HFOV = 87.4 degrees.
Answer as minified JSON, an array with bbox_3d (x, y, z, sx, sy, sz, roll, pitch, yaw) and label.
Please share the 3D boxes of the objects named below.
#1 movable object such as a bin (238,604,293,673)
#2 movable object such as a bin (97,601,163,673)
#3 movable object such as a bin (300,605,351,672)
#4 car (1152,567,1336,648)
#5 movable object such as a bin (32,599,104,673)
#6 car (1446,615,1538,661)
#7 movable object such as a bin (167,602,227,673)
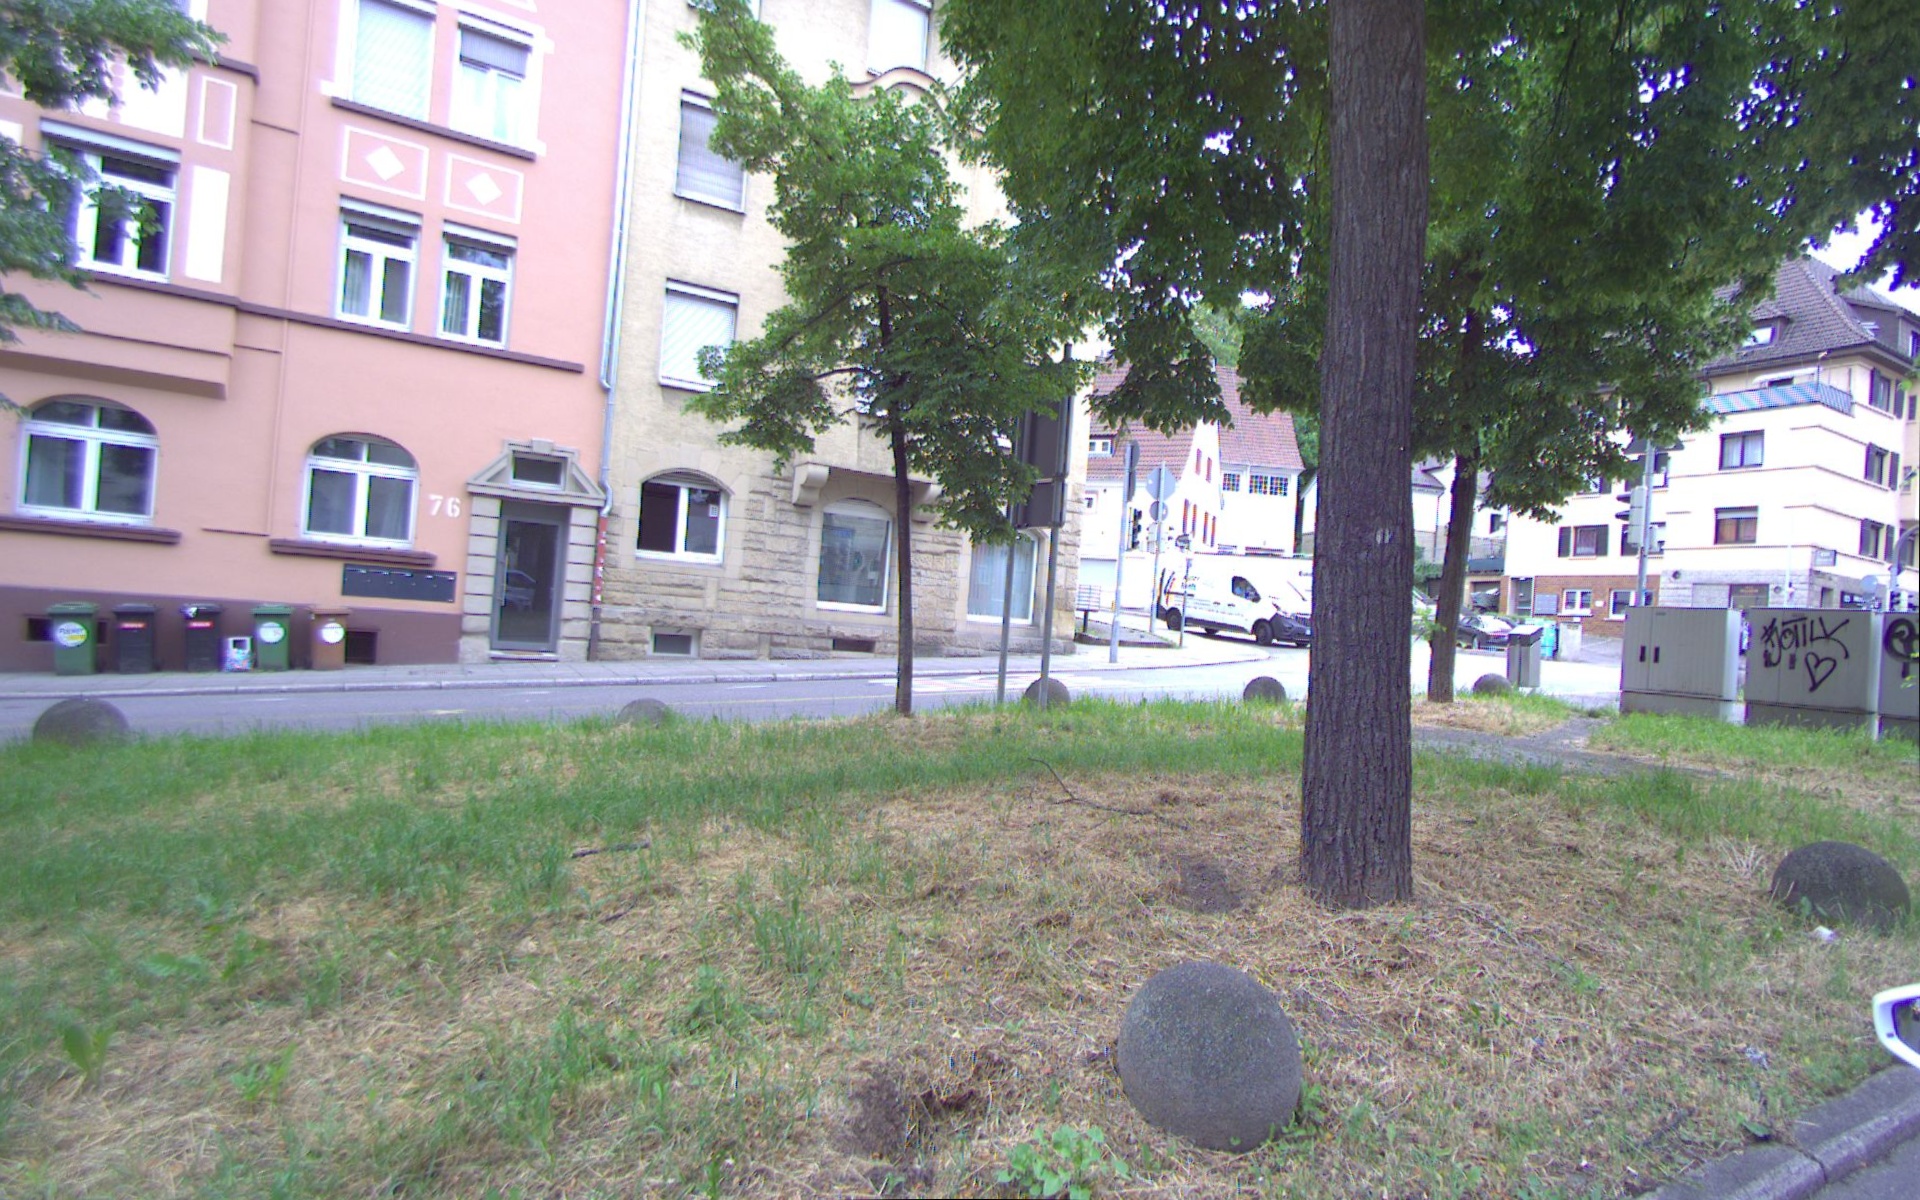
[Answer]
[{"bbox_3d":[-9.769,0.529,14.138,0.595,0.916,0.605,1,2,-33],"label":"movable object such as a bin"},{"bbox_3d":[-11.116,0.485,13.465,0.595,0.916,0.605,1,2,-33],"label":"movable object such as a bin"},{"bbox_3d":[-9.159,0.551,14.500,0.595,0.916,0.605,1,2,-33],"label":"movable object such as a bin"},{"bbox_3d":[8.163,0.154,29.413,1.974,2.092,5.138,2,2,-32],"label":"car"},{"bbox_3d":[-11.650,0.466,13.135,0.595,0.916,0.605,1,2,-33],"label":"movable object such as a bin"},{"bbox_3d":[21.782,1.525,41.321,1.844,1.687,4.002,3,-1,5],"label":"car"},{"bbox_3d":[-10.483,0.506,13.811,0.595,0.916,0.605,1,2,-33],"label":"movable object such as a bin"}]
